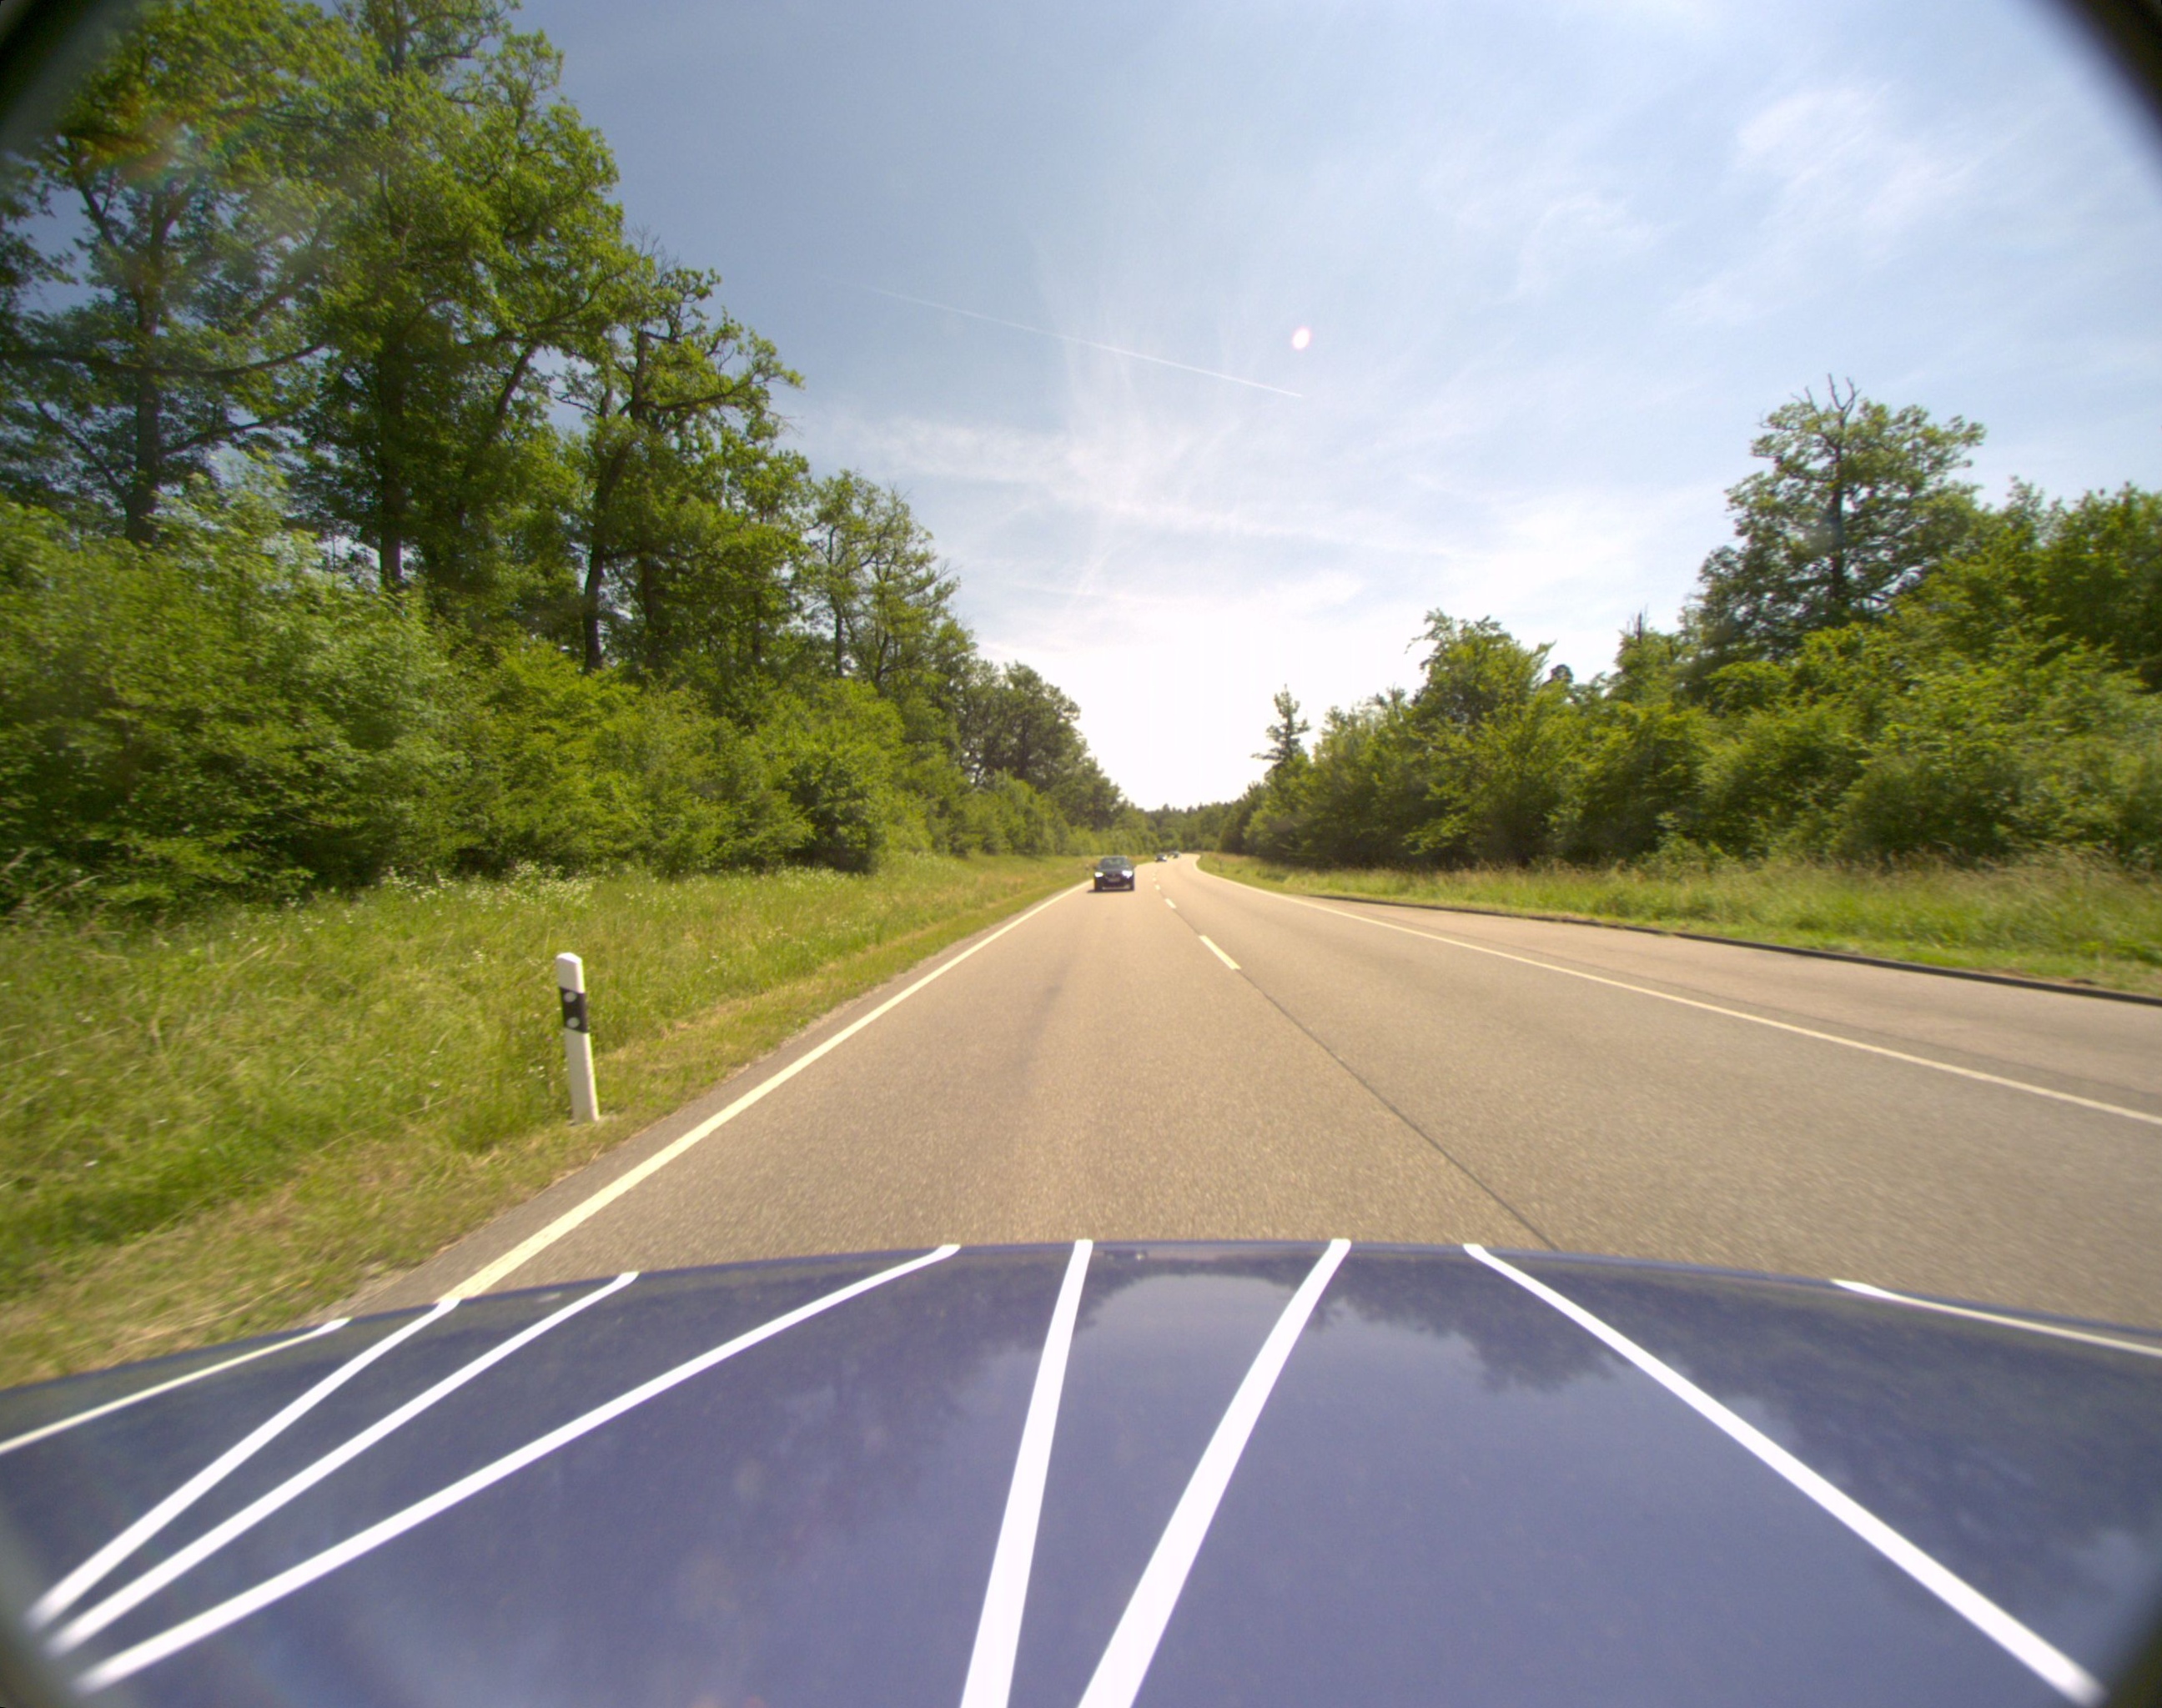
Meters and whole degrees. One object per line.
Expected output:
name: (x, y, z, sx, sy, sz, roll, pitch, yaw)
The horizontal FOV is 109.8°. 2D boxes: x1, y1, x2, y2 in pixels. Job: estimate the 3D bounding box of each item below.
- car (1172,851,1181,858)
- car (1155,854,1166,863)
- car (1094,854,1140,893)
car: (22.173, 0.175, 176.308, 1.774, 1.454, 4.003, -2, 0, 12)
car: (13.609, 0.811, 129.558, 1.775, 1.454, 3.950, -2, 0, 7)
car: (1.656, 0.823, 33.738, 1.713, 1.516, 4.243, -3, 0, 6)
